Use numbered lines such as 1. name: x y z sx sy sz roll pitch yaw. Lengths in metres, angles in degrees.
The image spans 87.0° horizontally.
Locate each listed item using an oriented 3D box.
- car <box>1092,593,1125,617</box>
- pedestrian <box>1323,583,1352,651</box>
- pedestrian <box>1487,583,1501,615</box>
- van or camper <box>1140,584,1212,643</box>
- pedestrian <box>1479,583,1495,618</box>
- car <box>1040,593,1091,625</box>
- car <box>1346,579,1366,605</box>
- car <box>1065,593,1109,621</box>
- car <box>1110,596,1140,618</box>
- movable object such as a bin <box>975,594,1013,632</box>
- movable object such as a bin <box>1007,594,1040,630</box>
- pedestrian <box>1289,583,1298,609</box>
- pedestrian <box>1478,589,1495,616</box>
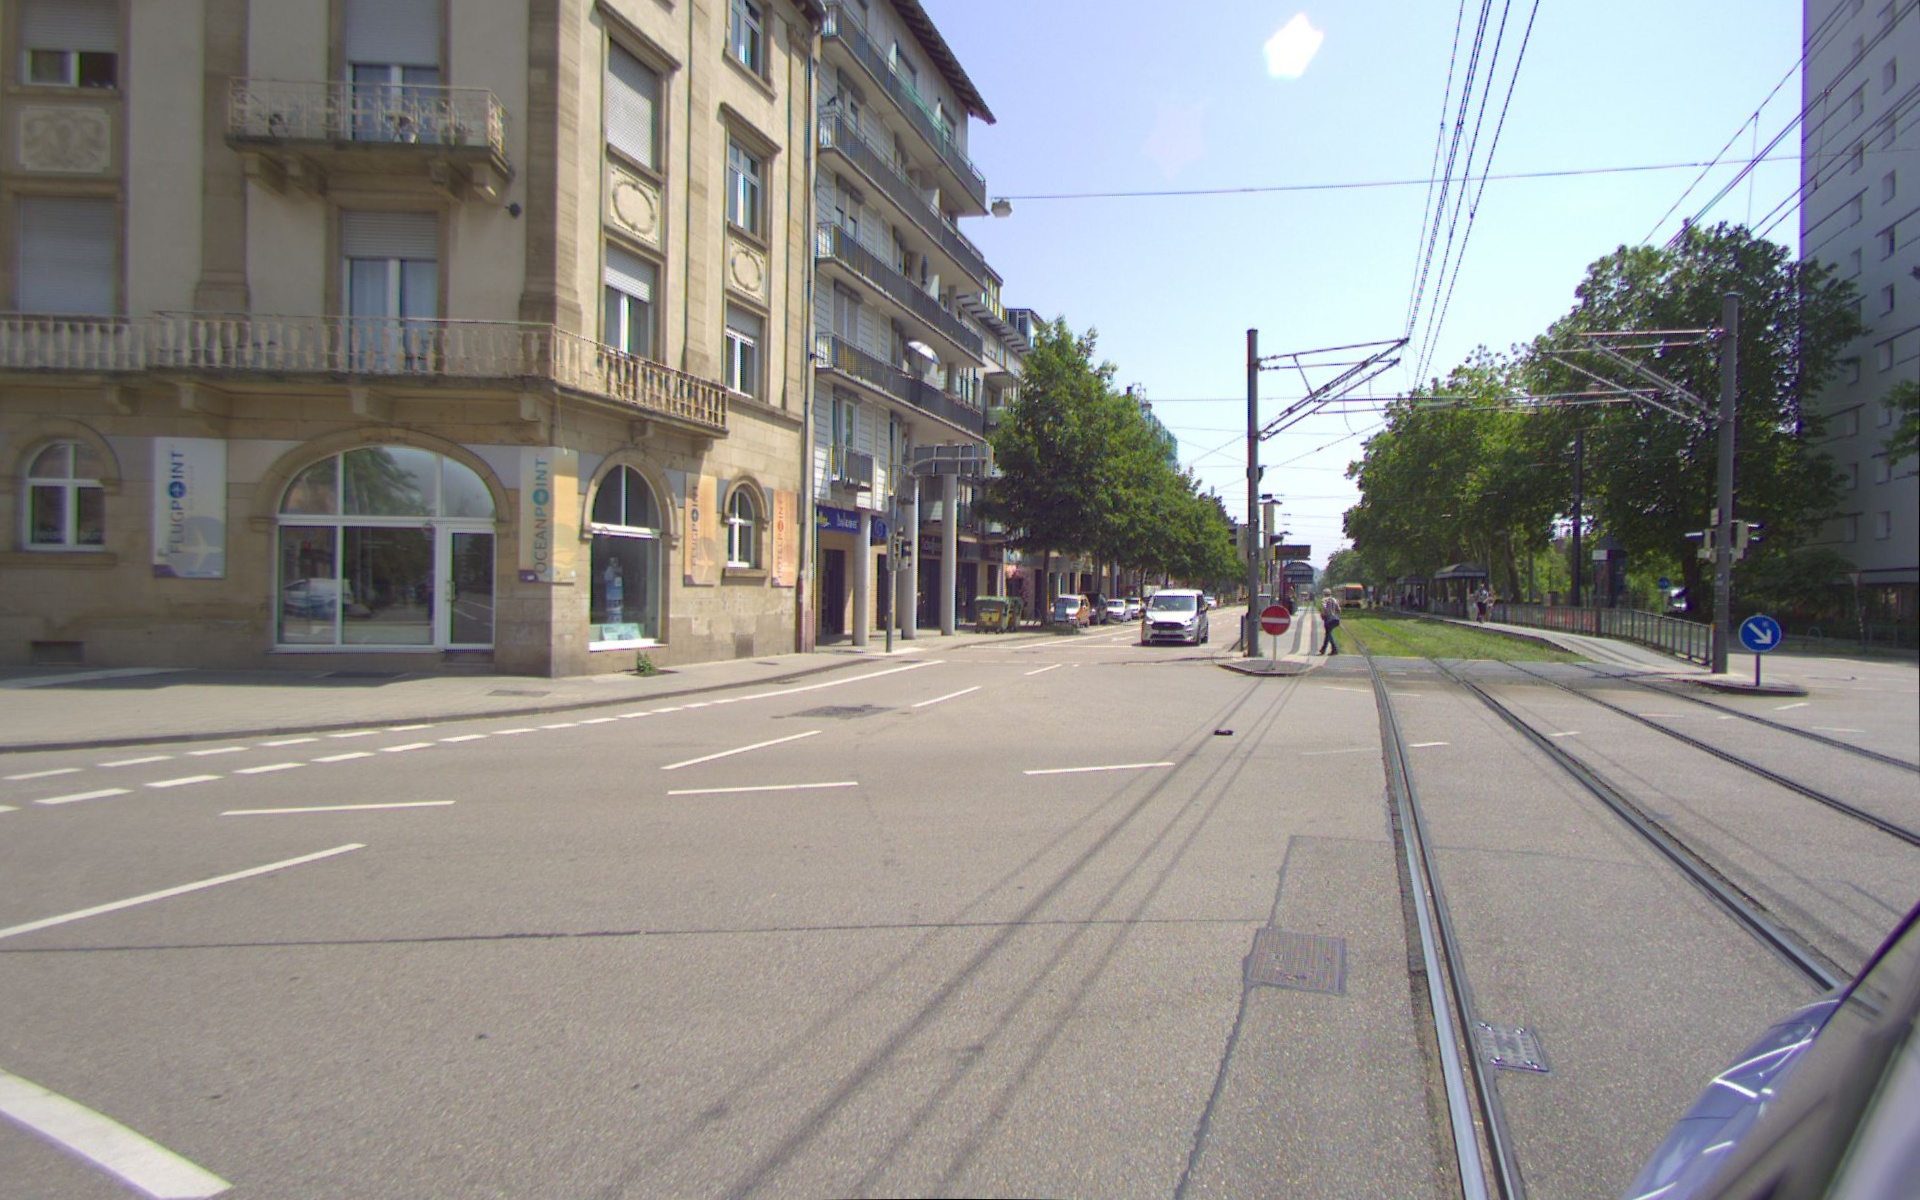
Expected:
1. car: 9.494 0.326 64.384 1.663 1.460 3.459 1 1 16
2. pedestrian: 9.647 0.429 25.881 0.672 1.727 0.549 0 0 23
3. pedestrian: 26.293 -0.050 49.824 0.540 1.600 0.512 0 0 19
4. van or camper: 7.082 0.392 32.847 1.744 1.780 4.565 -1 0 19
5. pedestrian: 25.121 0.027 48.246 0.546 1.626 0.676 0 0 19
6. car: 5.507 0.429 52.427 1.972 1.550 3.979 0 0 17
7. car: 53.855 -1.064 137.624 2.248 3.381 11.953 1 1 20
8. car: 7.242 0.371 57.376 1.866 1.550 3.979 0 0 17
9. car: 11.297 0.441 69.301 1.663 1.460 3.459 1 0 16
10. movable object such as a bin: 1.328 0.480 39.569 1.201 1.454 1.000 0 0 23
11. movable object such as a bin: 2.589 0.489 41.440 1.197 1.454 1.004 0 0 14
12. pedestrian: 20.887 -0.269 63.366 0.543 1.626 0.550 0 0 19
13. pedestrian: 26.740 0.134 51.412 0.671 1.366 0.628 0 0 19
